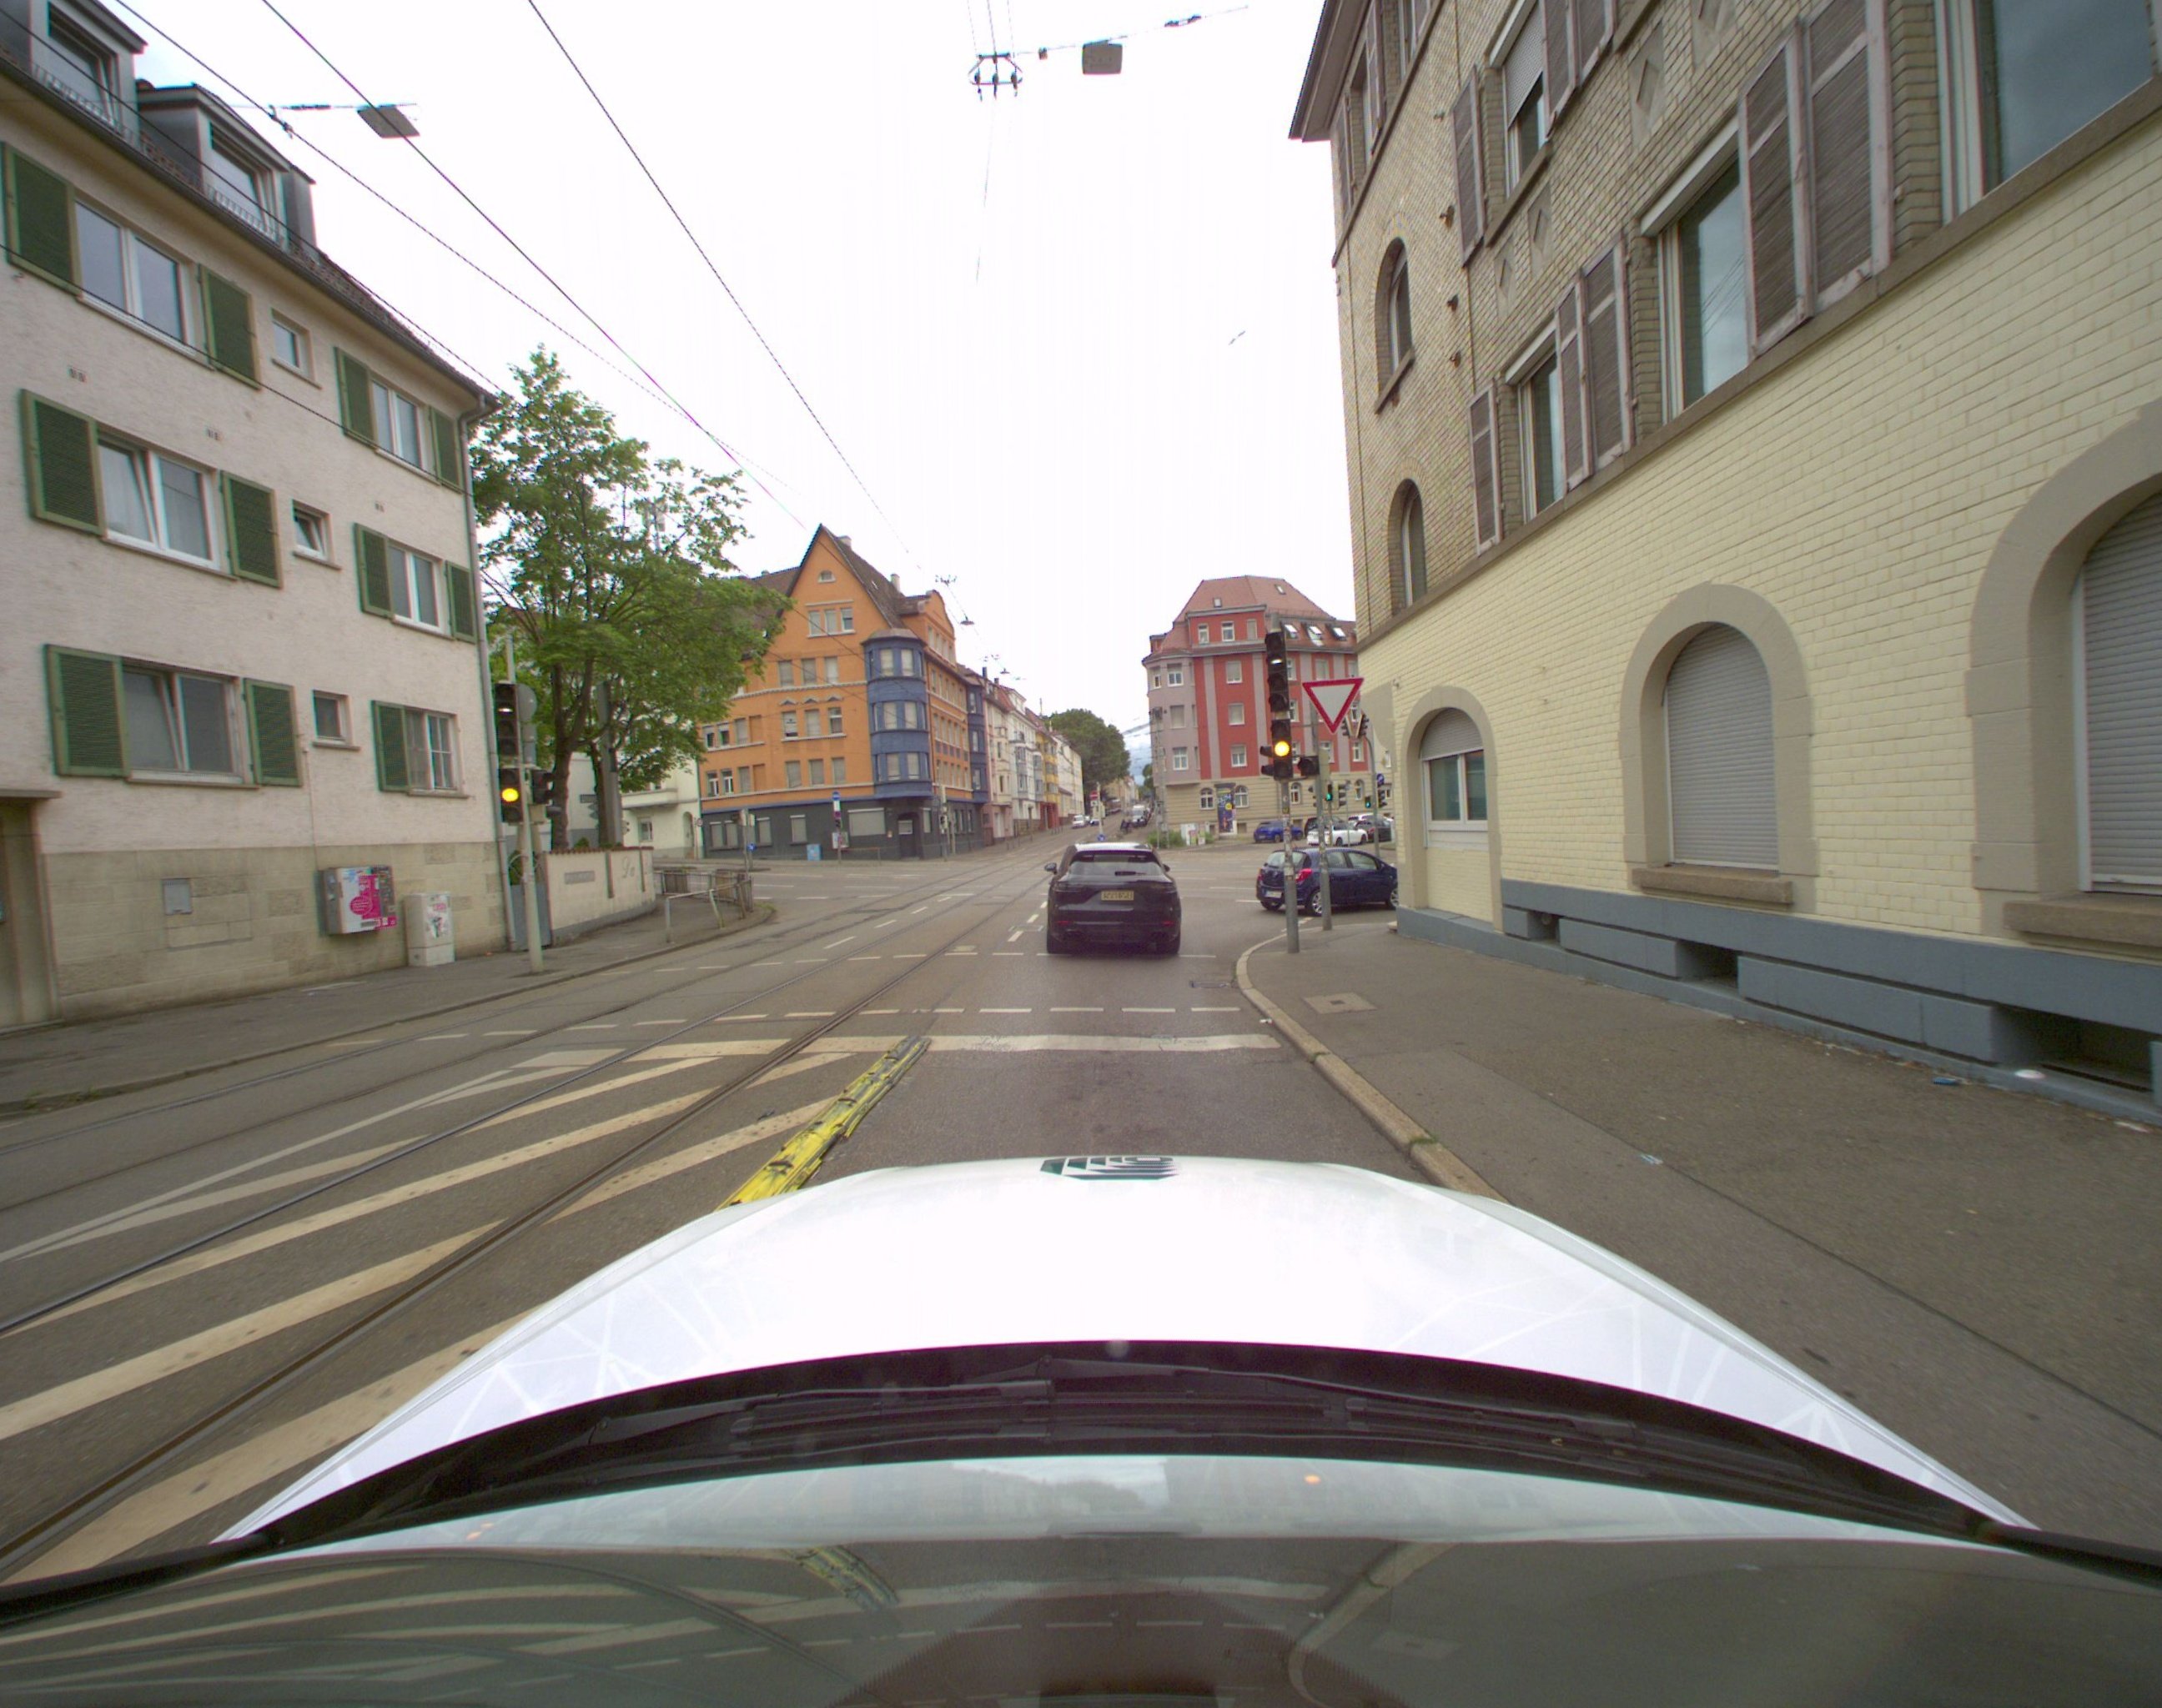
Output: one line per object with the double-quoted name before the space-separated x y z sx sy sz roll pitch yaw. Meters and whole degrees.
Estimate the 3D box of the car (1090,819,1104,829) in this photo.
"car" 2.377 -4.419 119.740 1.677 1.326 3.670 -1 3 7

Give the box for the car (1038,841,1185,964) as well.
"car" 0.420 0.642 13.455 2.018 1.641 4.355 -1 1 0

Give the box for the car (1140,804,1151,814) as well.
"car" 13.672 -9.506 172.470 2.255 2.183 4.779 -1 3 7

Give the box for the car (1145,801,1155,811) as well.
"car" 16.332 -11.267 192.642 2.255 2.183 4.779 -1 3 7

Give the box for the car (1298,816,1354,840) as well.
"car" 17.966 -1.936 59.737 4.163 1.534 1.897 -6 5 -39

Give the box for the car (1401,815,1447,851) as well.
"car" 17.964 -1.152 42.507 1.806 1.576 4.287 1 5 28

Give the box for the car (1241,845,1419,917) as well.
"car" 5.707 0.548 18.660 3.760 1.447 1.745 0 2 -28

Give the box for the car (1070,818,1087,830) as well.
"car" -0.293 -4.362 118.022 1.983 1.692 4.009 -1 3 7

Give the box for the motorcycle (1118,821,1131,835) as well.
"motorcycle" 4.360 -2.650 82.224 0.858 1.326 2.182 -8 3 -3

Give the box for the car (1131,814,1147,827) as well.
"car" 7.540 -4.333 105.904 1.830 1.568 3.827 -1 3 7

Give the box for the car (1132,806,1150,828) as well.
"car" 8.272 -5.111 111.851 2.255 2.889 4.779 -1 2 7

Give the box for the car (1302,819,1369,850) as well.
"car" 15.095 -1.174 48.217 4.165 1.534 1.895 -6 5 -43

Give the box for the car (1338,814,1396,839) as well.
"car" 22.048 -2.145 62.707 4.153 1.632 1.901 -5 4 -29

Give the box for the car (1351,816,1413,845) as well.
"car" 19.102 -1.525 51.581 4.165 1.534 1.896 -6 5 -41

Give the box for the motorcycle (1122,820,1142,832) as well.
"motorcycle" 5.833 -3.221 92.715 2.173 1.326 0.699 -2 2 -4

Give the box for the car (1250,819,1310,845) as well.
"car" 13.667 -1.549 55.889 4.163 1.534 1.896 -6 5 -39
